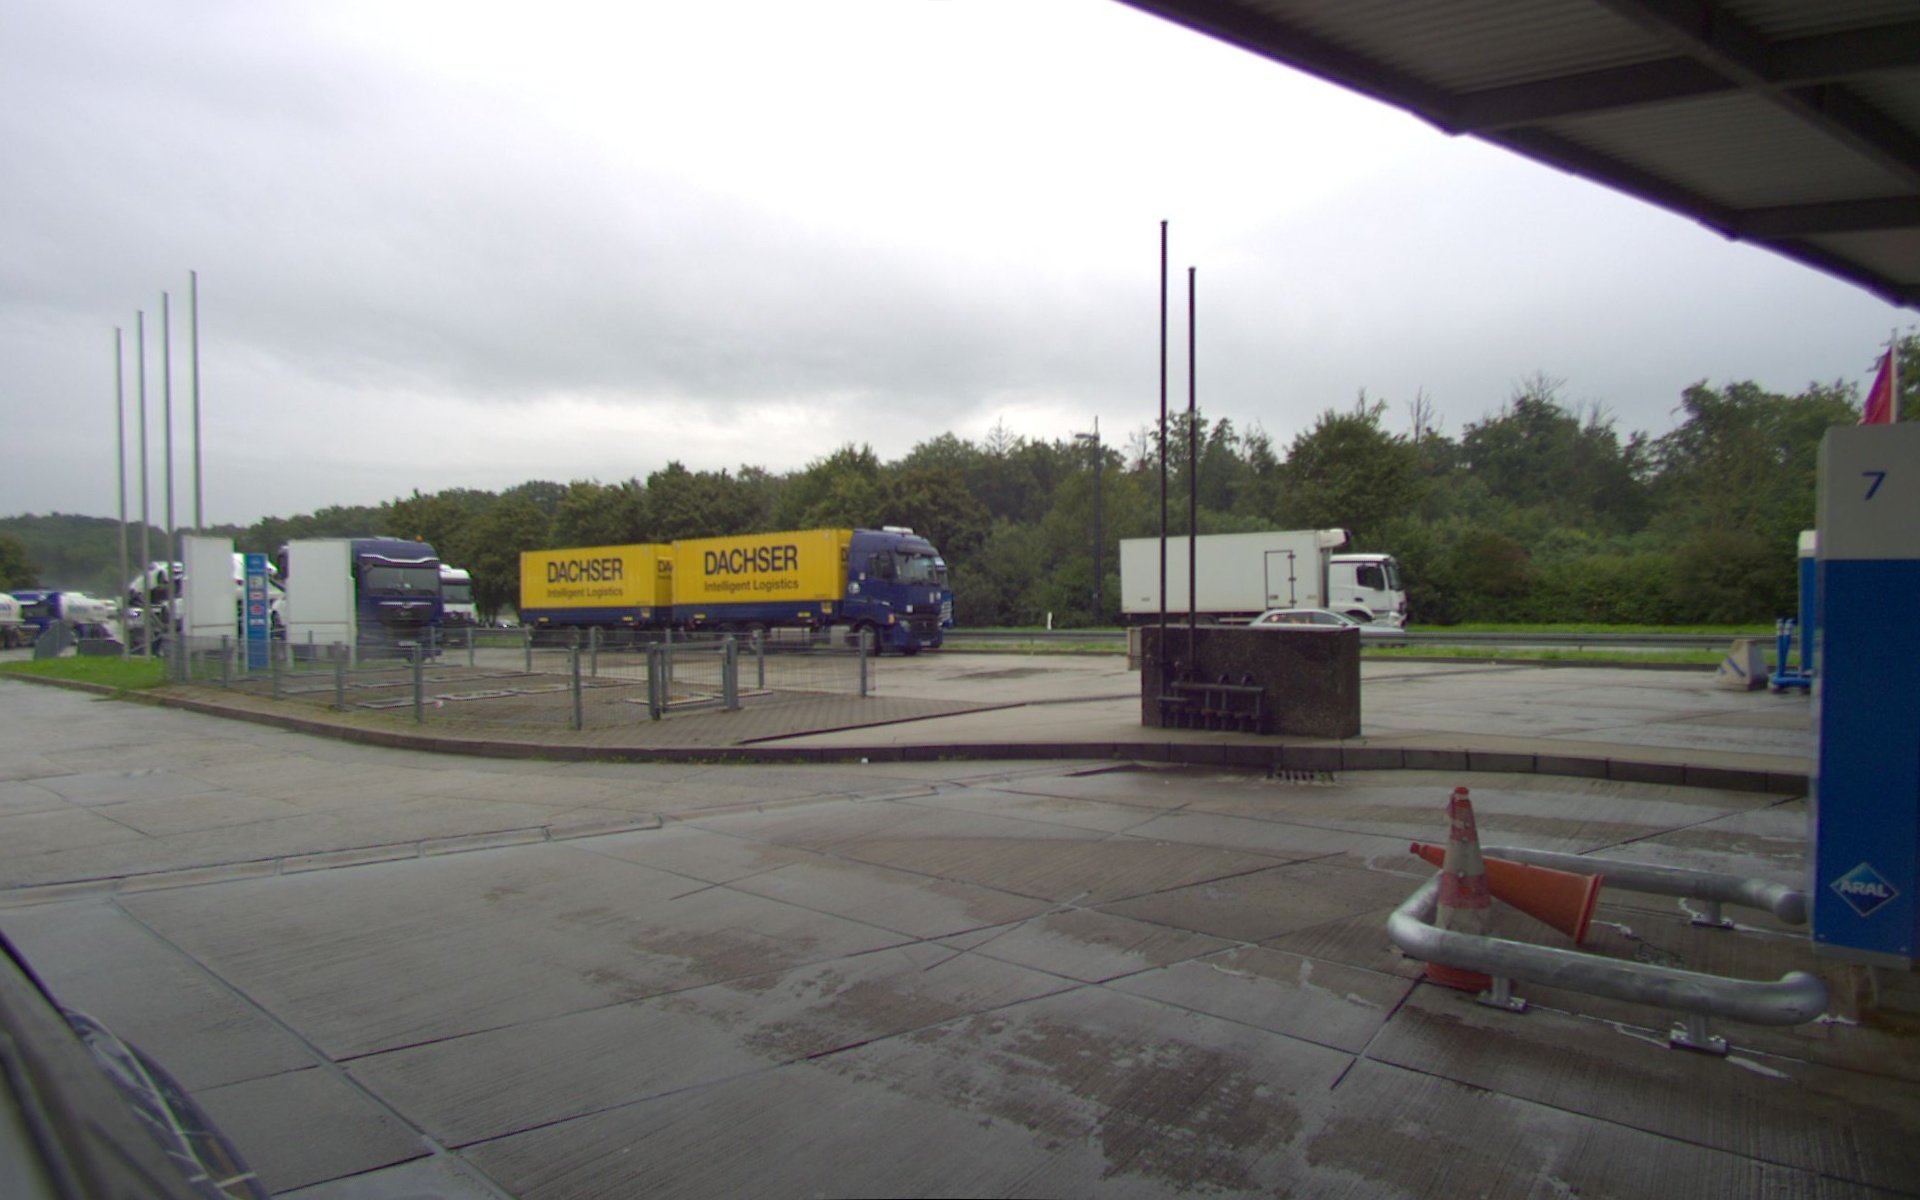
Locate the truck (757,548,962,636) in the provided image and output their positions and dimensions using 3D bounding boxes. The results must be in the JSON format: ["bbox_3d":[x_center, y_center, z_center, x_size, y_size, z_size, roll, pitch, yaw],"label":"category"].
[{"bbox_3d":[-4.884,-0.314,47.651,10.195,3.836,2.395,-1,0,31],"label":"truck"}]

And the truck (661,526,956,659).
[{"bbox_3d":[-5.341,-0.179,34.036,10.654,3.946,2.727,-1,0,33],"label":"truck"}]

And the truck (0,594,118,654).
[{"bbox_3d":[-61.500,1.620,68.661,3.454,3.633,14.709,-1,-1,-27],"label":"truck"}]

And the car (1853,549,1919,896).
[{"bbox_3d":[6.907,0.539,3.807,5.269,1.620,1.842,-1,0,41],"label":"car"}]

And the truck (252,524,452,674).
[{"bbox_3d":[-19.013,0.009,31.484,7.089,4.213,2.635,-1,0,35],"label":"truck"}]

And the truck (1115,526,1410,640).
[{"bbox_3d":[10.965,-0.517,37.456,10.195,3.836,2.395,-1,0,31],"label":"truck"}]

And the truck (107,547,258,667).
[{"bbox_3d":[-29.593,0.296,38.453,6.605,4.213,2.635,-1,0,35],"label":"truck"}]

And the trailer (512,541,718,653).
[{"bbox_3d":[-13.504,-0.075,39.265,8.679,3.946,2.728,-1,0,32],"label":"trailer"}]

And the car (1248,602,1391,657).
[{"bbox_3d":[11.225,0.874,31.664,3.985,1.641,1.759,0,0,31],"label":"car"}]

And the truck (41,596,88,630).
[{"bbox_3d":[-141.444,2.054,159.777,11.498,5.160,3.109,-1,0,36],"label":"truck"}]

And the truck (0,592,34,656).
[{"bbox_3d":[-55.161,1.335,53.694,3.454,3.633,14.444,-1,-1,-19],"label":"truck"}]

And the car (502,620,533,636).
[{"bbox_3d":[-51.663,3.275,118.133,3.998,1.837,1.865,-1,0,41],"label":"car"}]

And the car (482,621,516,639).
[{"bbox_3d":[-49.559,3.250,108.719,3.998,1.837,1.865,-1,0,41],"label":"car"}]

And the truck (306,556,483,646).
[{"bbox_3d":[-27.323,0.102,48.635,10.654,3.946,2.727,-1,0,33],"label":"truck"}]

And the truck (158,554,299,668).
[{"bbox_3d":[-26.111,0.393,36.080,4.738,3.800,2.635,-1,0,34],"label":"truck"}]

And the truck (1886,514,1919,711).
[{"bbox_3d":[14.990,0.123,11.962,5.859,2.513,2.208,-1,0,41],"label":"truck"}]
